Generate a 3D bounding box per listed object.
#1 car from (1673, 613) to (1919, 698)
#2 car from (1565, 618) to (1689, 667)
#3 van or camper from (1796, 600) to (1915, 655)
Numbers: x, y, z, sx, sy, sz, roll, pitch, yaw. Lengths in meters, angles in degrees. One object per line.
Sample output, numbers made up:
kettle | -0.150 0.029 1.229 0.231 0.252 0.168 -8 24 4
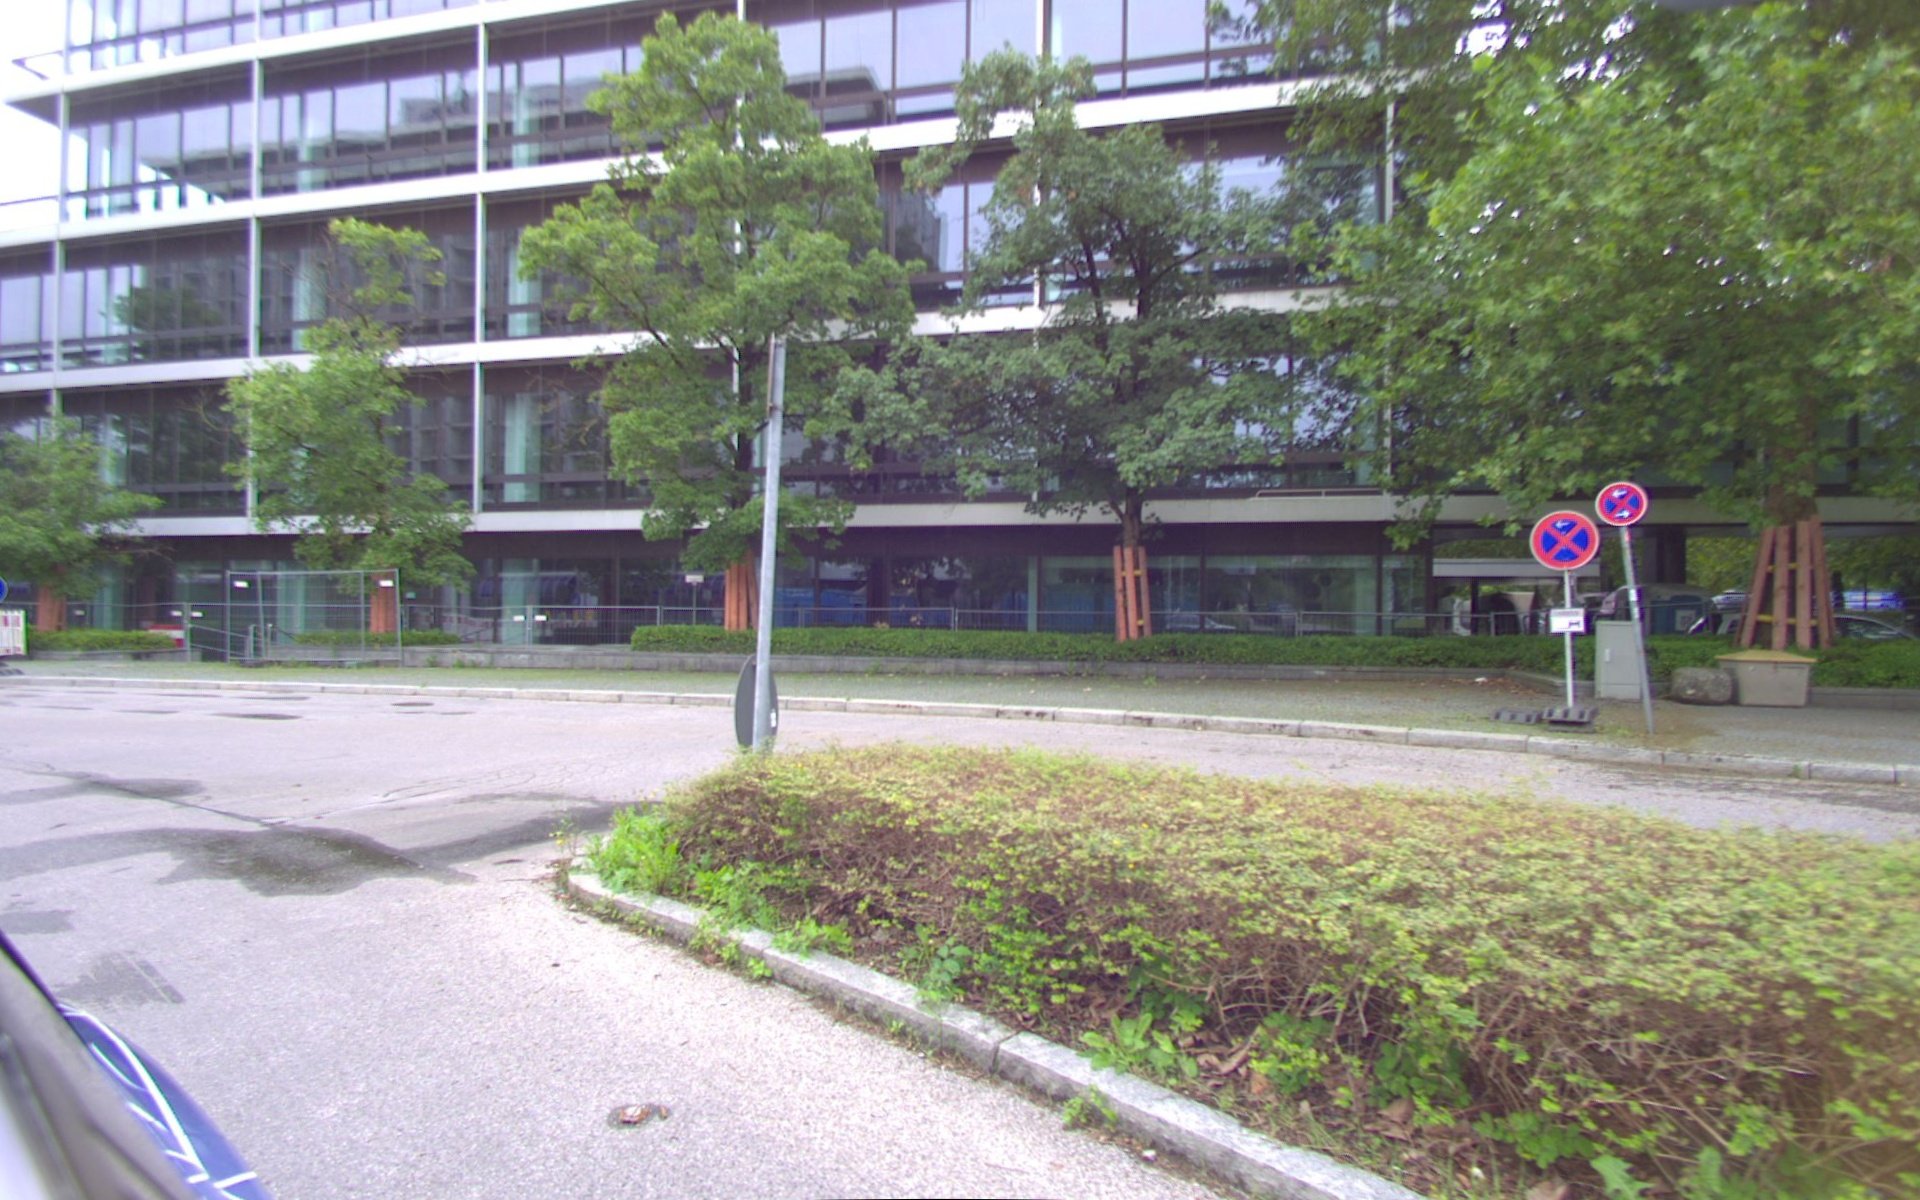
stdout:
car | 15.917 0.995 18.872 3.825 1.484 1.903 0 -1 16
car | 21.570 1.334 32.920 1.891 1.484 3.850 0 -1 8
van or camper | 44.419 1.348 50.368 2.253 2.615 4.637 0 -1 9
